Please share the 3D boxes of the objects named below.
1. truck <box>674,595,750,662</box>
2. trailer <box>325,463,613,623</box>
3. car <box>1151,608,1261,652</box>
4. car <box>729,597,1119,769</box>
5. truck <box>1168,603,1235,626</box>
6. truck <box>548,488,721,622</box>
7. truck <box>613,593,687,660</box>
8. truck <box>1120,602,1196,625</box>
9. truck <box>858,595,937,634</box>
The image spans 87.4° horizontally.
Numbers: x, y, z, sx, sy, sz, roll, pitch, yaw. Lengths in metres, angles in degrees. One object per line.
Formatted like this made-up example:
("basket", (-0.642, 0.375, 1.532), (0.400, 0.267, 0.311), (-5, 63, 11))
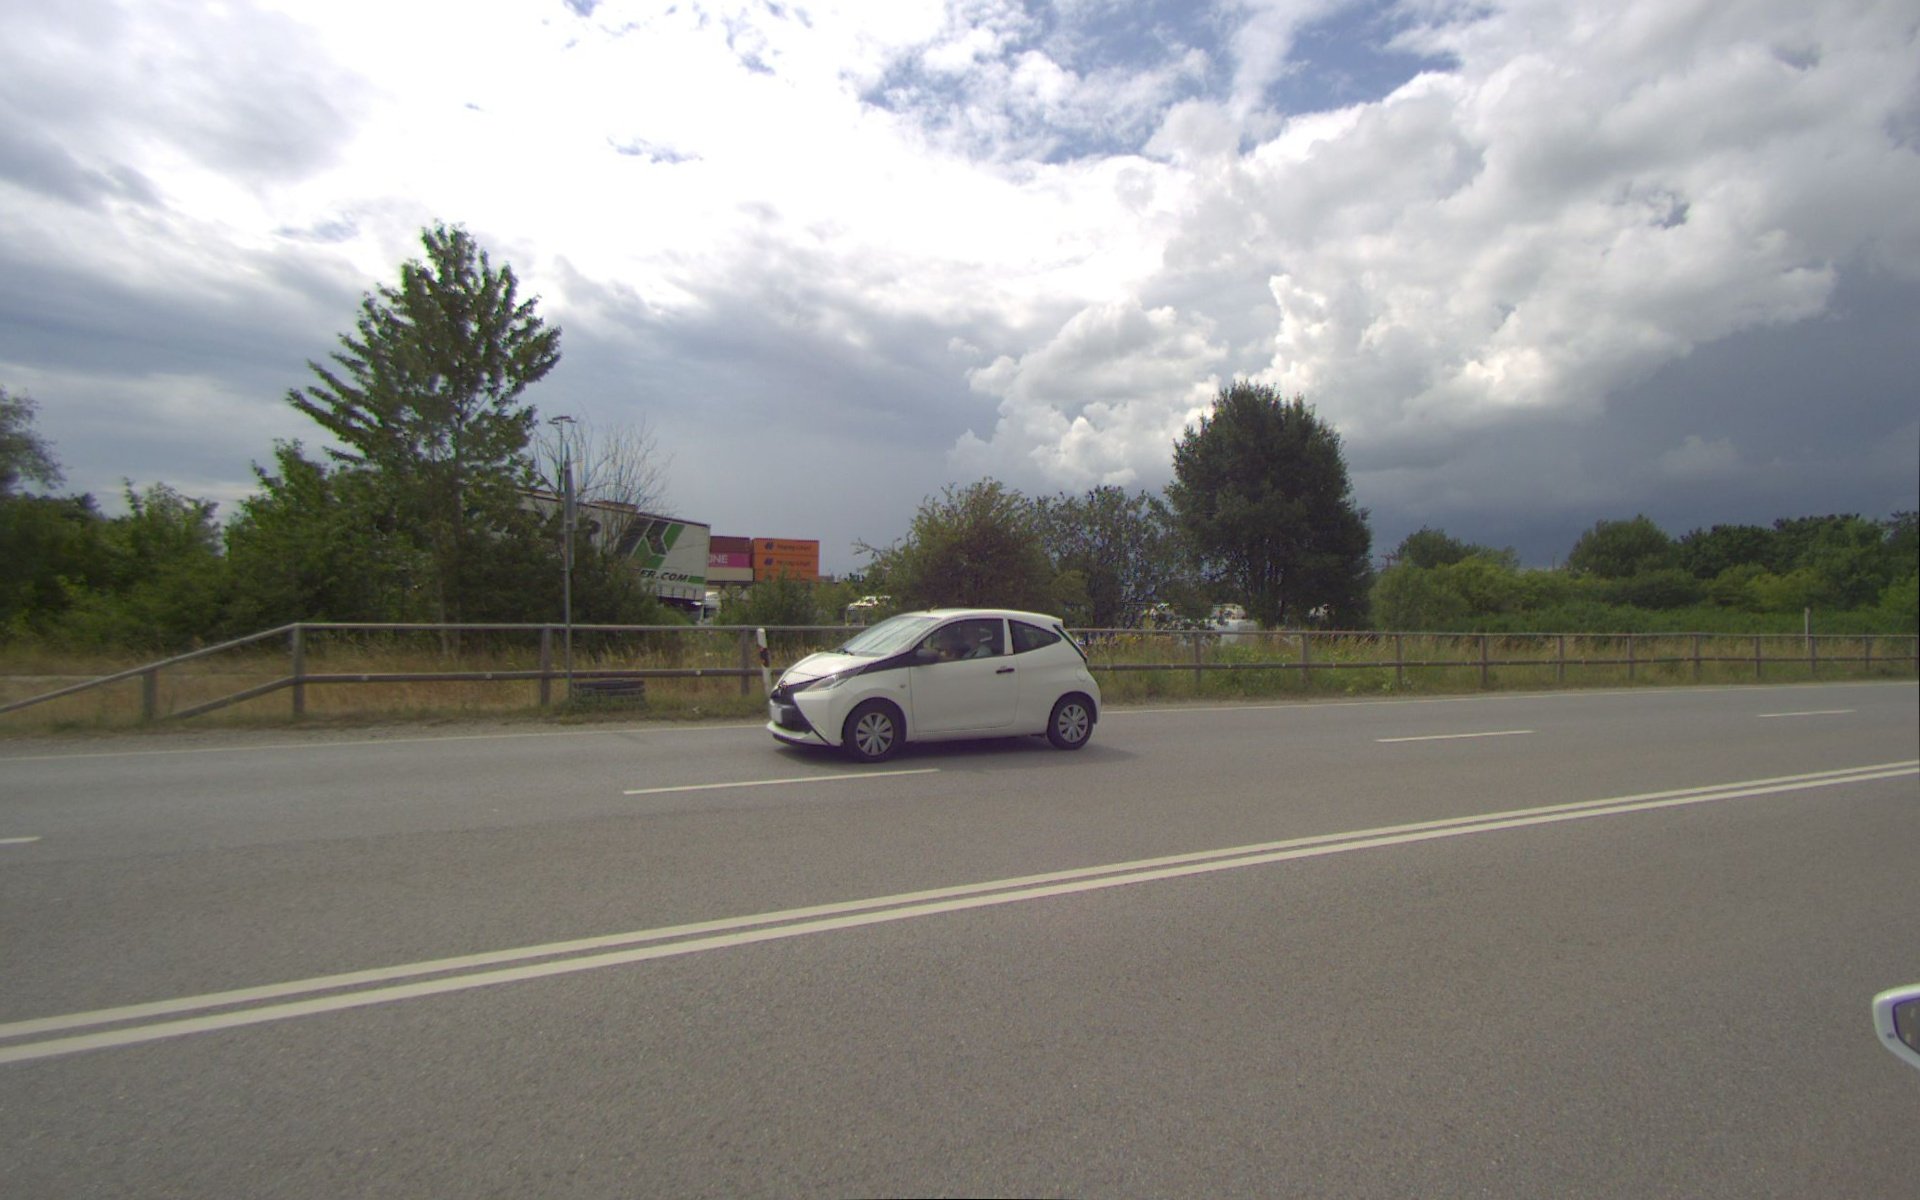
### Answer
("truck", (-16.790, 1.890, 68.305), (2.156, 4.350, 5.427), (1, 0, 23))
("trailer", (-17.314, -1.758, 36.138), (2.765, 5.063, 8.943), (1, 0, 39))
("car", (11.210, 1.326, 45.915), (1.986, 1.758, 4.525), (1, 1, -44))
("car", (-0.353, 0.759, 10.638), (3.700, 1.509, 1.867), (1, 0, -31))
("truck", (23.453, 1.443, 97.447), (6.133, 2.040, 1.992), (2, 0, -19))
("truck", (-13.212, -1.671, 41.138), (2.762, 5.063, 6.161), (1, 0, 40))
("truck", (-20.921, 1.757, 67.974), (2.156, 4.350, 4.852), (1, 0, 23))
("truck", (18.923, 1.291, 95.929), (7.022, 2.040, 1.992), (2, 0, -19))
("truck", (-4.495, 1.039, 73.660), (2.605, 2.718, 6.644), (1, 0, 29))
